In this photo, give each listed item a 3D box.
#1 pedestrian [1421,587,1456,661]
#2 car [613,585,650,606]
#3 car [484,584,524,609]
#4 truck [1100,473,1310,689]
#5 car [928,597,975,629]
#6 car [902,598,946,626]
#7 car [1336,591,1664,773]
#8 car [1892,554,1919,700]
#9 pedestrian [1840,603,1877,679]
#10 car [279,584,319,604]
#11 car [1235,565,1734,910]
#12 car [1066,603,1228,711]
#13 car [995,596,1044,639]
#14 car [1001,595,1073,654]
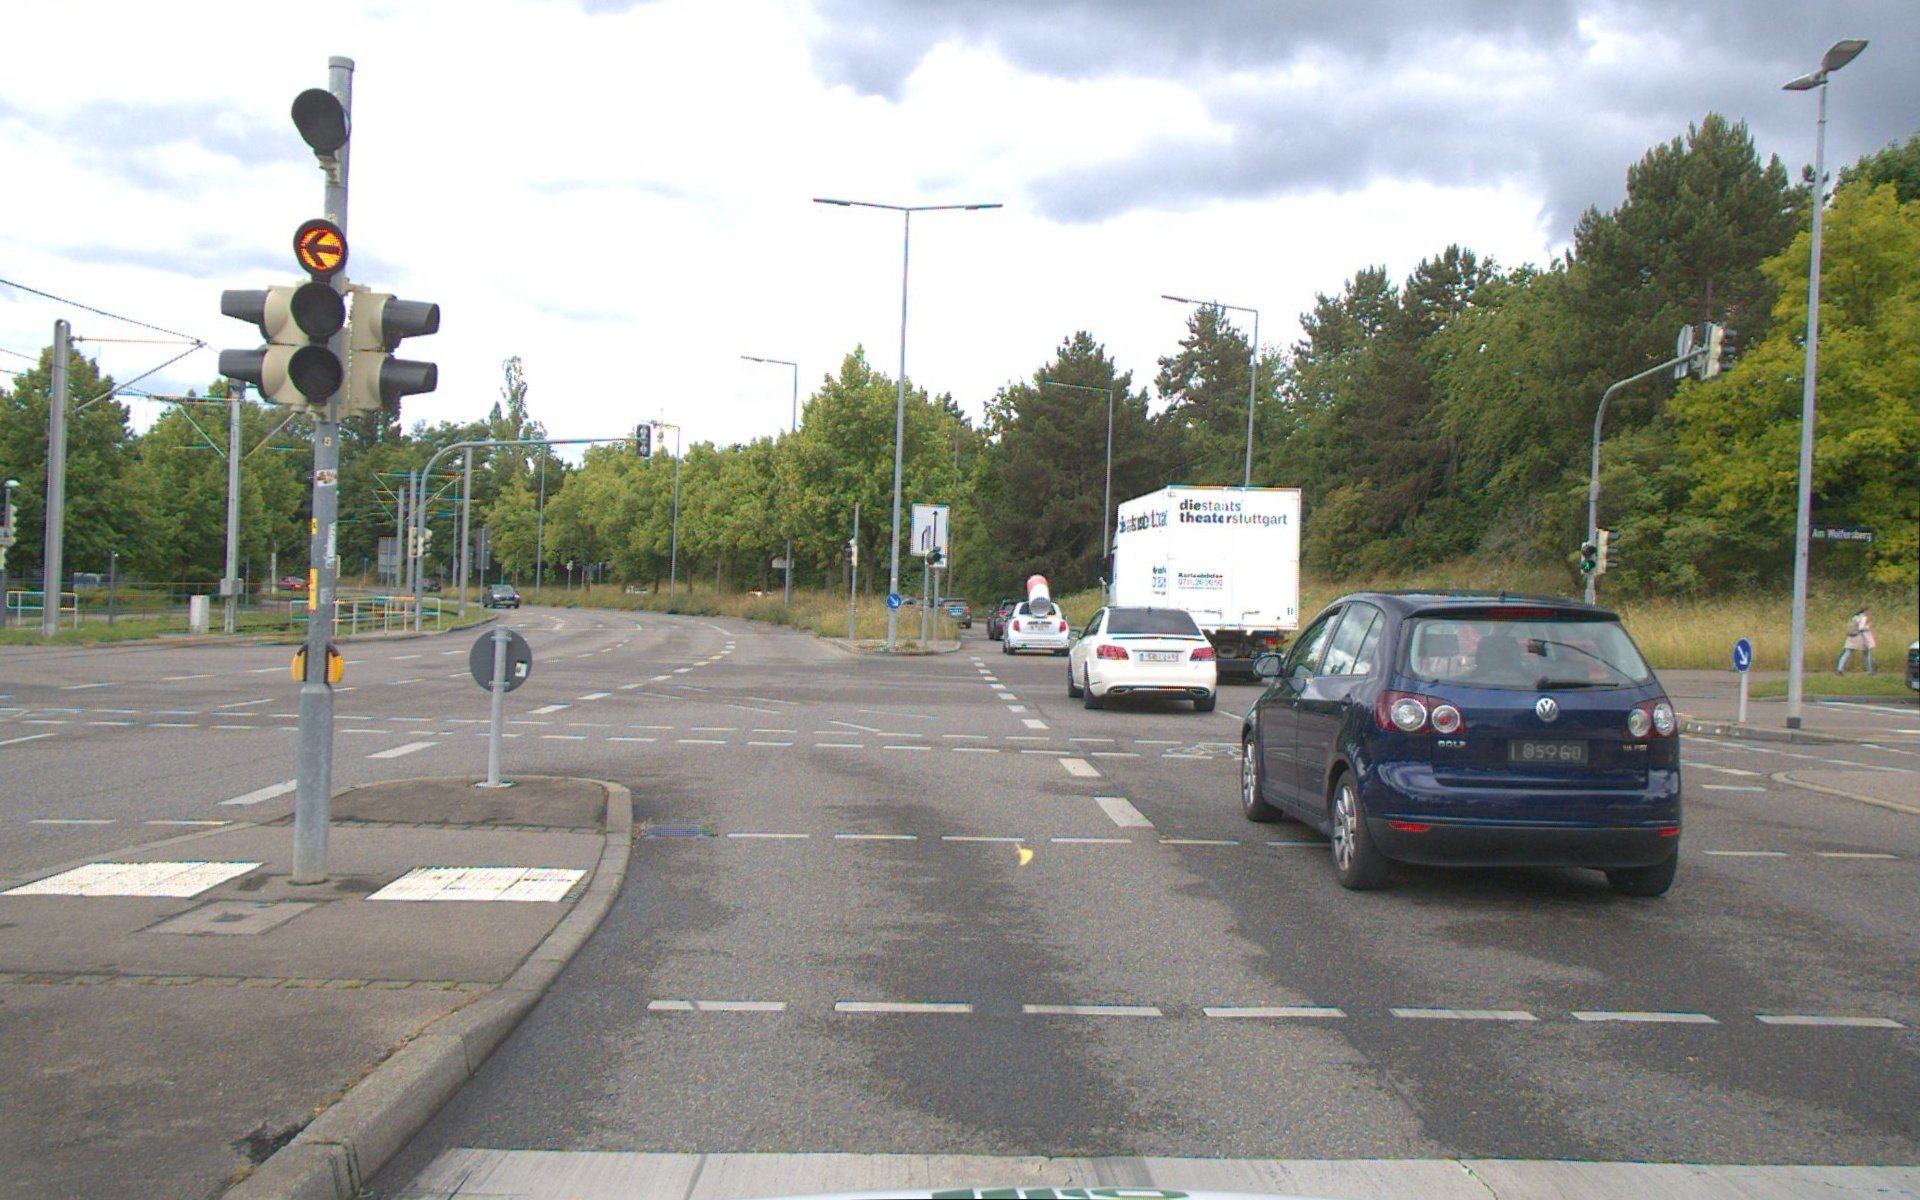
[{"bbox_3d":[11.053,0.553,38.225,0.630,1.691,0.714,1,-1,6],"label":"pedestrian"},{"bbox_3d":[-27.429,-0.377,138.162,1.615,1.741,3.755,1,-1,-36],"label":"car"},{"bbox_3d":[-31.218,-0.253,113.205,1.775,1.615,3.962,1,0,-29],"label":"car"},{"bbox_3d":[4.993,-0.401,35.873,2.746,3.971,10.179,1,1,-1],"label":"truck"},{"bbox_3d":[-0.463,0.640,83.662,1.714,1.534,4.038,1,0,-10],"label":"car"},{"bbox_3d":[-2.106,0.648,94.845,1.716,1.534,3.987,1,0,-13],"label":"car"},{"bbox_3d":[5.253,0.712,16.749,1.809,1.556,4.376,1,0,-1],"label":"car"},{"bbox_3d":[20.357,0.538,30.062,5.685,2.676,2.000,1,-1,1],"label":"car"},{"bbox_3d":[19.629,0.888,36.128,0.631,1.640,0.713,1,-1,23],"label":"pedestrian"},{"bbox_3d":[-61.742,-0.529,154.426,3.929,1.823,1.866,1,-1,42],"label":"car"},{"bbox_3d":[2.847,0.672,9.914,1.631,1.626,3.995,1,0,-1],"label":"car"},{"bbox_3d":[2.662,0.780,24.441,1.763,1.436,4.315,1,0,-2],"label":"car"},{"bbox_3d":[2.222,0.647,62.438,1.591,1.519,3.836,1,0,-2],"label":"car"},{"bbox_3d":[2.079,0.654,45.575,1.784,1.532,3.494,1,0,0],"label":"car"}]
